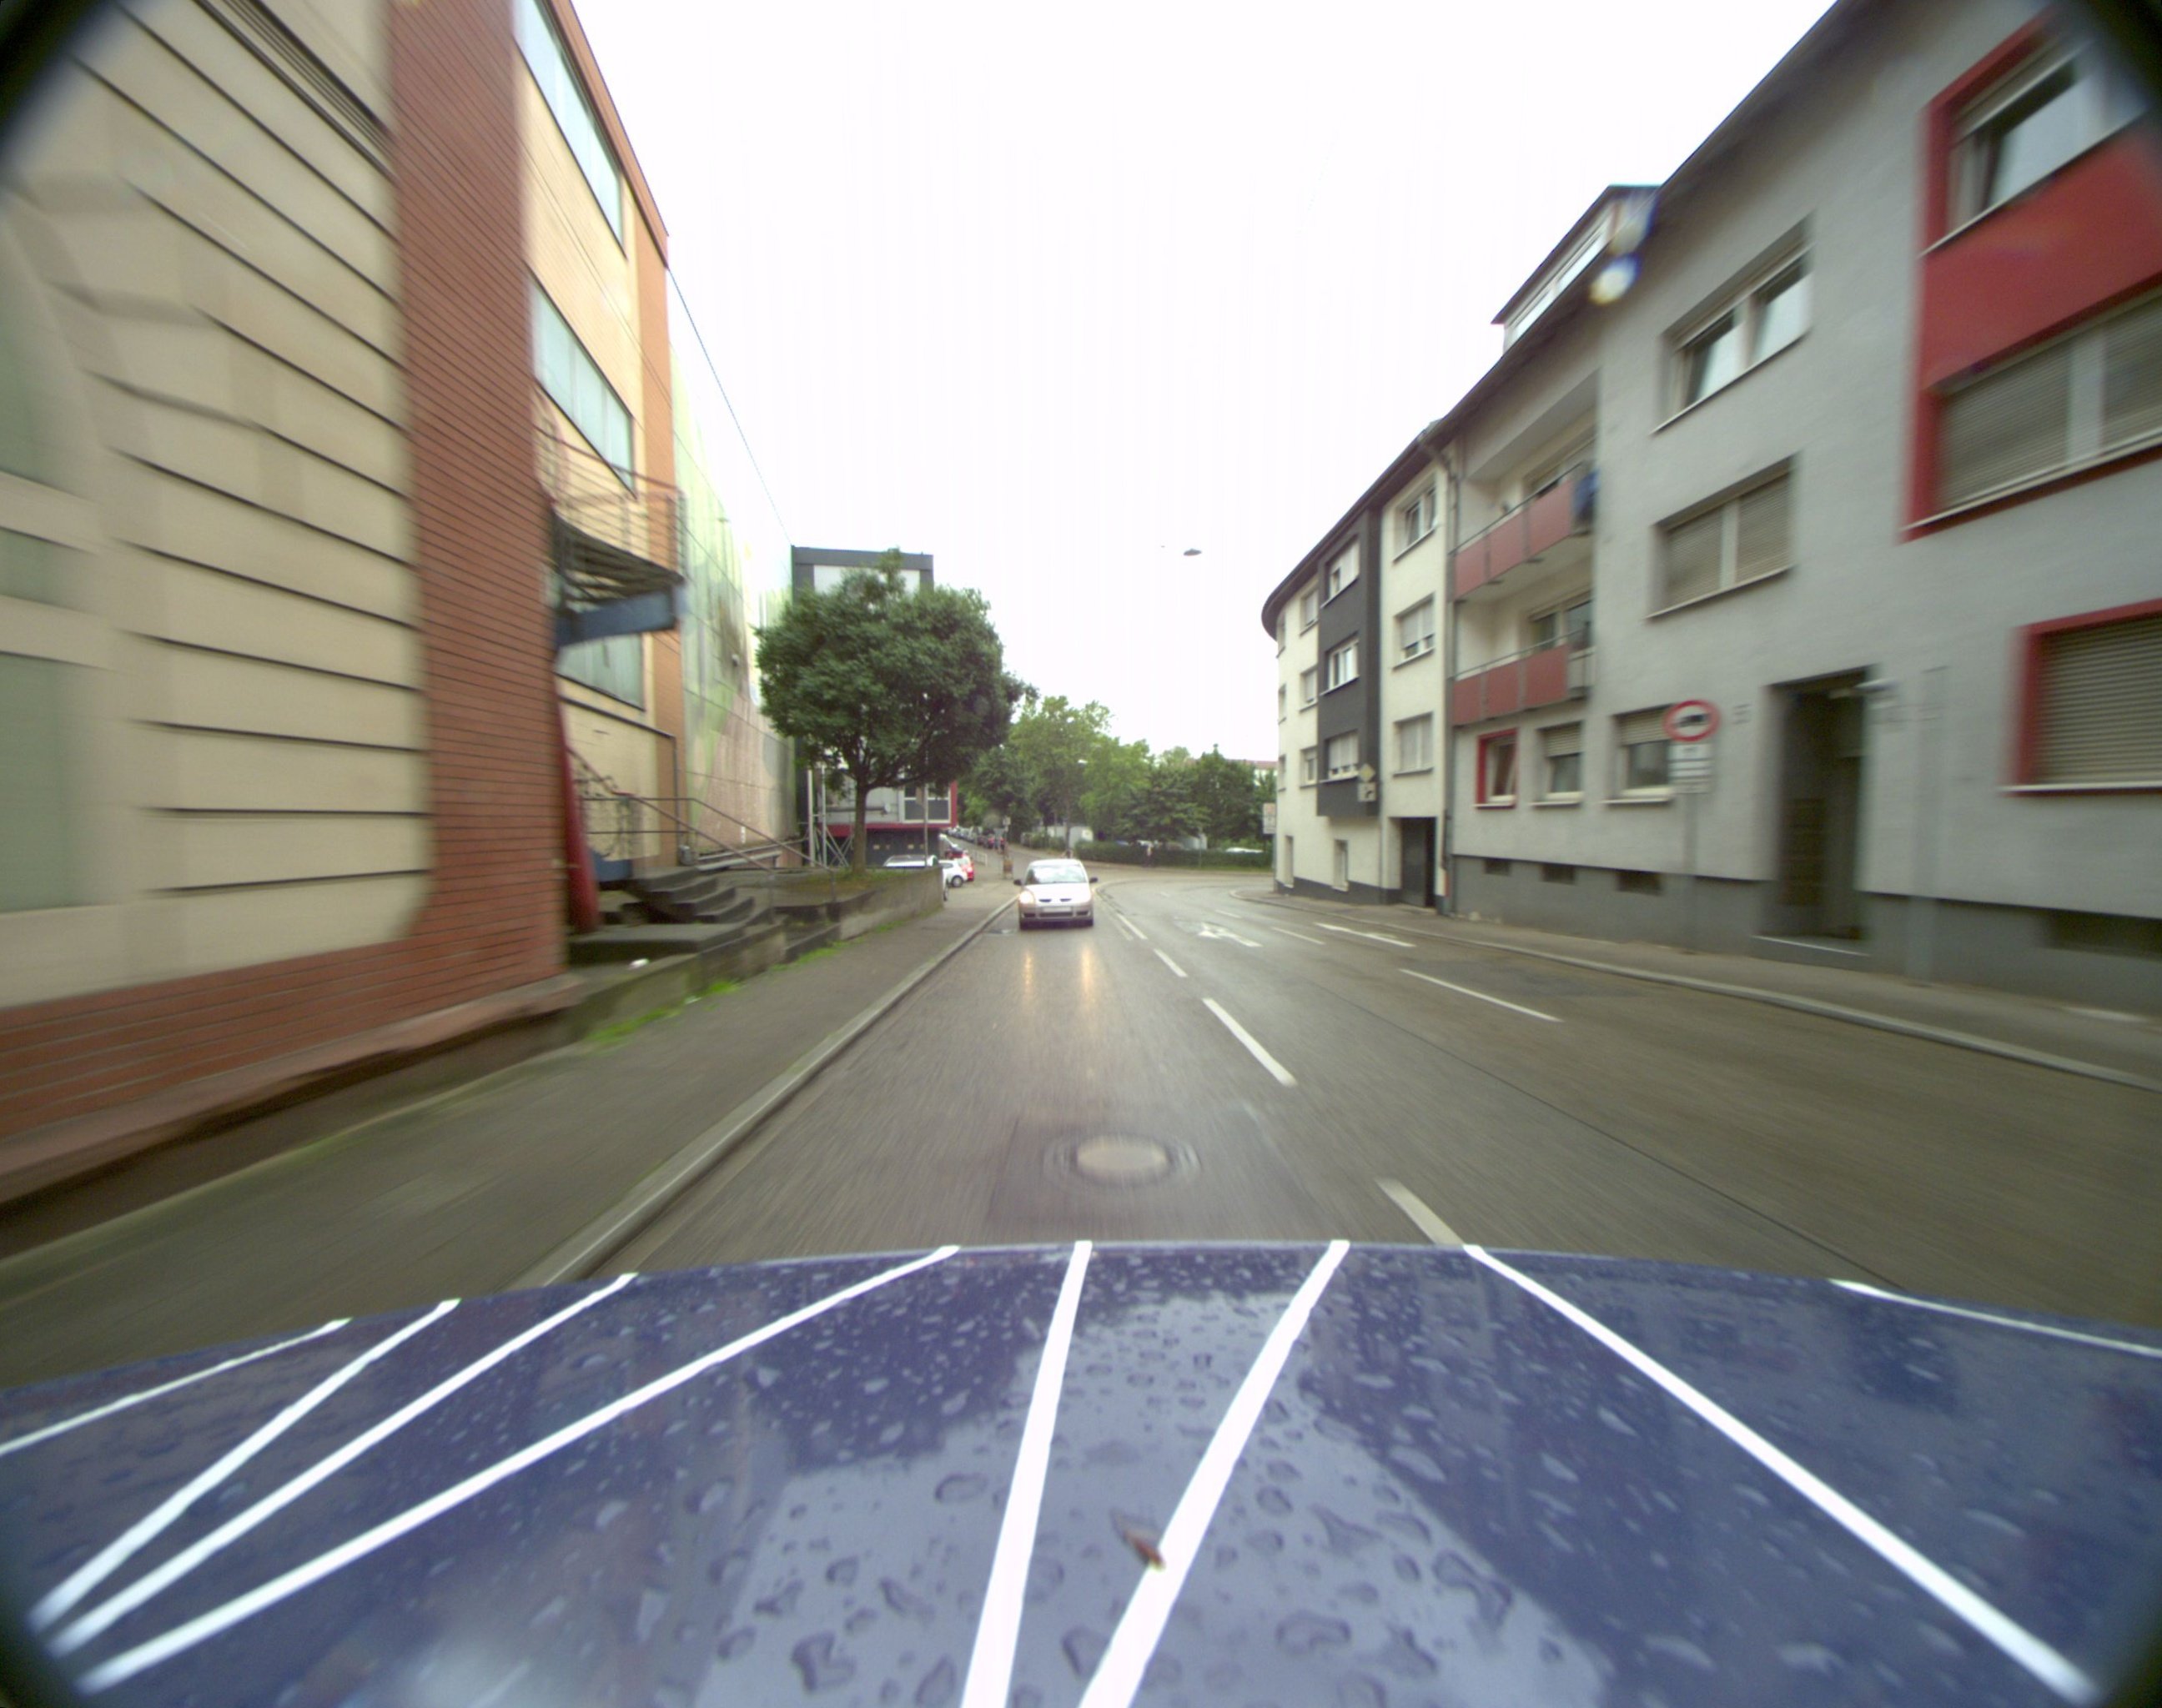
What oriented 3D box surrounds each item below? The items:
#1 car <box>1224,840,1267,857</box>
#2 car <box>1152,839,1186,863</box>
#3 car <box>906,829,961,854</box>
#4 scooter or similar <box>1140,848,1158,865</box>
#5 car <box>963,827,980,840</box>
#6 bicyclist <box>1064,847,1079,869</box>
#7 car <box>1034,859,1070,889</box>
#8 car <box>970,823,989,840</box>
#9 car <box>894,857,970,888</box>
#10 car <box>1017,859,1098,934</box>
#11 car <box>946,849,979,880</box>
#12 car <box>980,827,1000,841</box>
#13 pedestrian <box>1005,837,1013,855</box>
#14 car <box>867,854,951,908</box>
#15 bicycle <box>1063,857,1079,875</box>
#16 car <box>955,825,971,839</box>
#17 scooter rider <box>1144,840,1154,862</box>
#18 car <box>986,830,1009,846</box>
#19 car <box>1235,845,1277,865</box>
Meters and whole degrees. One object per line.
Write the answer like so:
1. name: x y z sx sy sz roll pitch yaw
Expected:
1. car: 17.123 -0.597 79.310 4.005 1.502 1.796 2 2 -22
2. car: 7.792 -0.314 67.712 1.638 1.949 4.205 2 2 -13
3. car: -13.640 -1.160 70.534 4.892 2.200 1.881 1 4 -8
4. scooter or similar: 5.498 0.203 61.447 1.407 1.315 0.805 1 1 3
5. car: -15.276 -2.845 105.778 1.910 1.642 3.992 -1 4 -16
6. bicyclist: -0.647 0.253 51.513 0.887 1.481 0.969 0 1 5
7. car: -1.564 1.033 40.321 1.687 1.418 3.838 -3 -1 -4
8. car: -13.299 -2.940 99.346 1.910 2.064 3.992 -1 4 -16
9. car: -8.310 1.004 42.324 3.995 1.524 1.872 2 2 -15
10. car: -0.547 0.925 18.244 1.687 1.496 3.838 -2 0 -1
11. car: -7.558 0.626 48.223 1.933 1.702 4.485 0 2 -11
12. car: -11.107 -2.440 92.525 1.910 1.642 3.992 -1 4 -16
13. pedestrian: -6.613 -0.726 69.877 0.704 1.559 0.621 -1 5 -13
14. car: -5.675 0.861 25.683 1.858 1.607 4.915 0 -1 -2
15. bicycle: -0.651 0.793 51.559 0.887 1.180 2.134 0 0 5
16. car: -17.321 -3.241 111.657 1.910 2.024 3.992 -1 4 -16
17. scooter rider: 5.503 -0.255 61.441 0.781 1.810 0.805 1 1 3
18. car: -9.503 -1.870 86.030 1.910 1.642 3.992 -1 4 -16
19. car: 16.566 0.087 72.020 1.639 1.612 4.202 2 2 -23
